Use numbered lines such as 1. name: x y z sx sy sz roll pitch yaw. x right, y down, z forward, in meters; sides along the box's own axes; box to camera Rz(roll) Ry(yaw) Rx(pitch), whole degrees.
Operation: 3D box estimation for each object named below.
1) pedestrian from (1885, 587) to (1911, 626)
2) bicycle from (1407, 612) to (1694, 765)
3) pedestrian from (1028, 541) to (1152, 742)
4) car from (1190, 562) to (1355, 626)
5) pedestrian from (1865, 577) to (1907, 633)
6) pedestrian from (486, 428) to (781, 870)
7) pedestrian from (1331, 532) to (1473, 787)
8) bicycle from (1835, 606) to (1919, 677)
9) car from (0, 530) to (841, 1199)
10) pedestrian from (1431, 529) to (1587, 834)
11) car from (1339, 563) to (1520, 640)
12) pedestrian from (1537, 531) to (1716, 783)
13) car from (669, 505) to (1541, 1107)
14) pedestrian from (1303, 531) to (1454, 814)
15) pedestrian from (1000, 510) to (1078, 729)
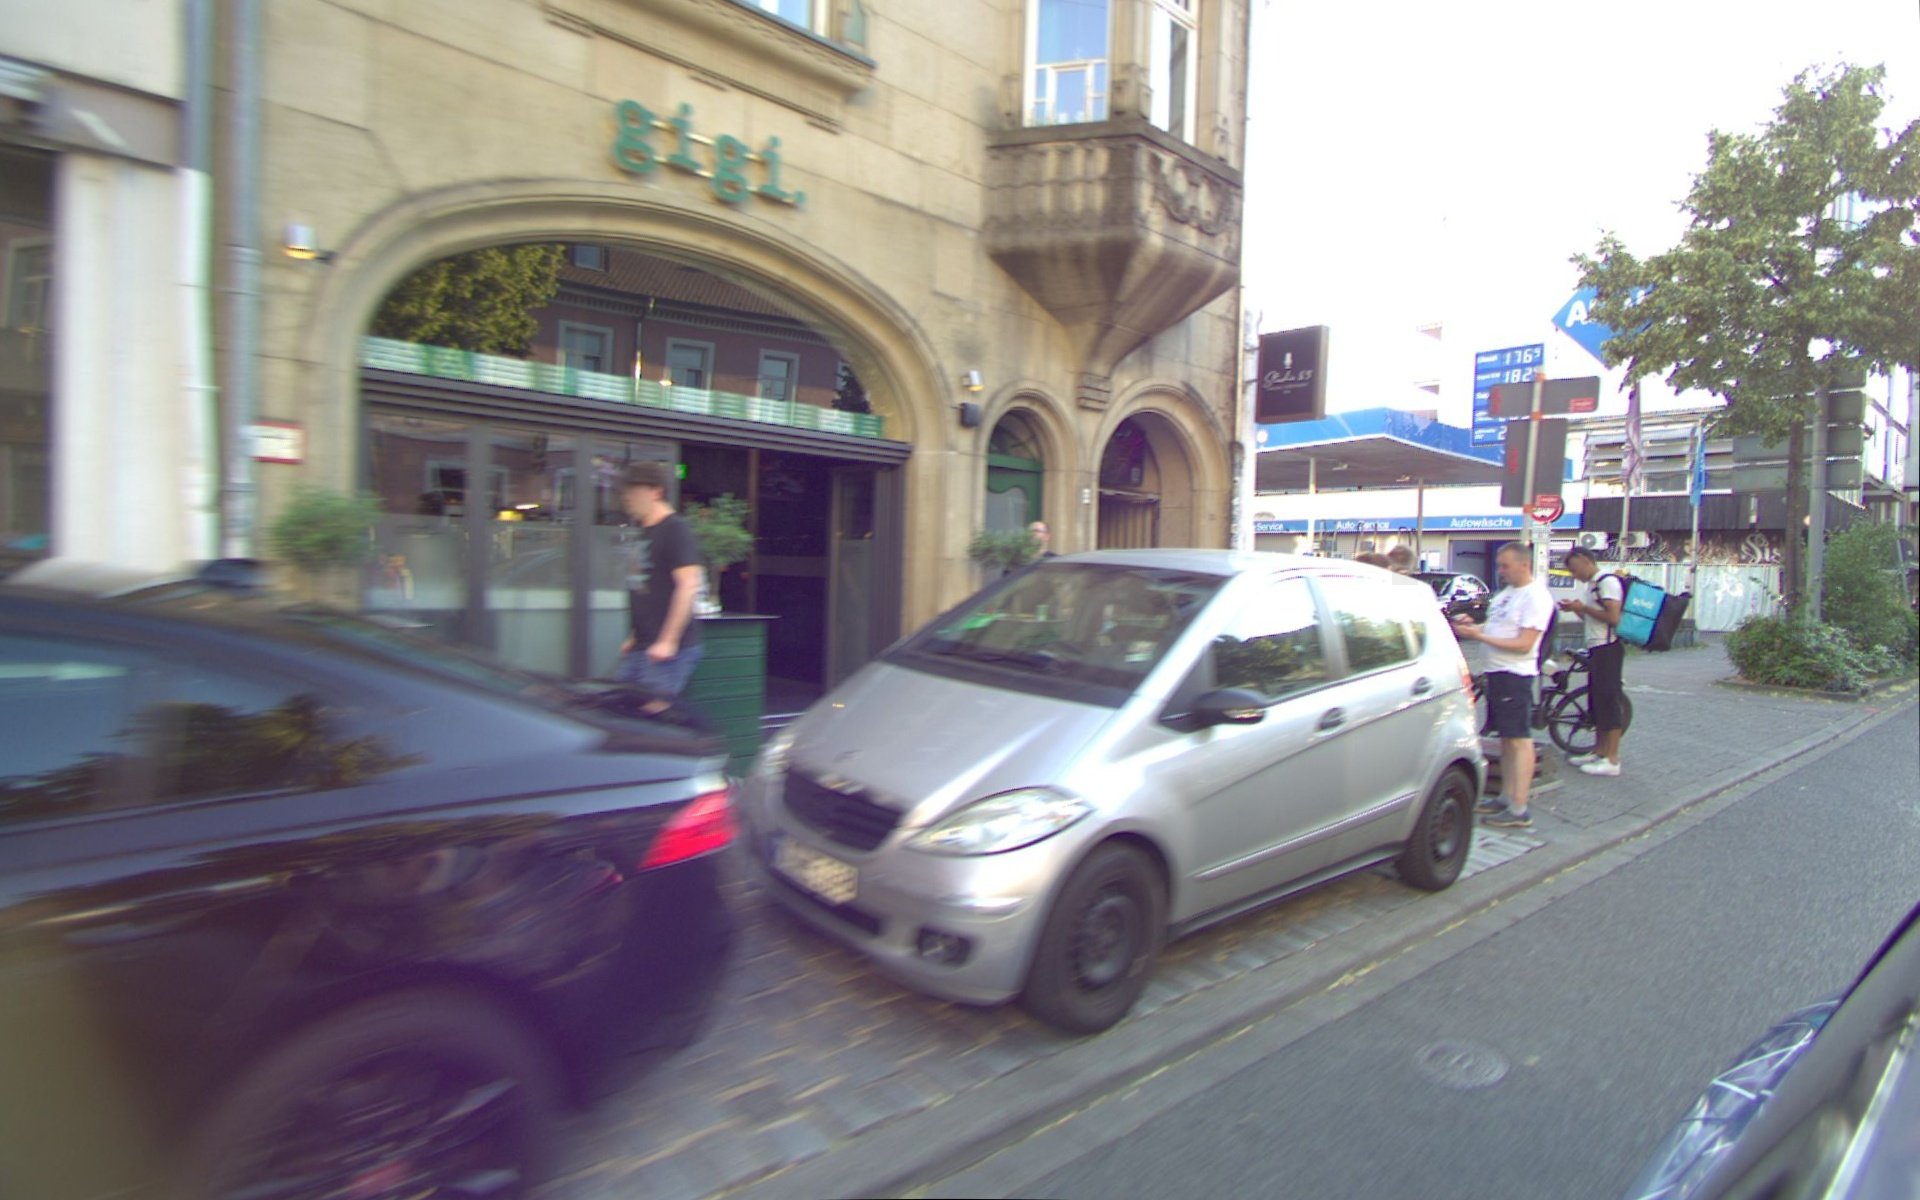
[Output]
1. pedestrian: 37.690 0.257 40.665 0.759 1.544 0.612 1 2 -40
2. bicycle: 5.036 0.732 8.730 1.889 1.112 0.868 3 2 -1
3. pedestrian: 1.086 0.318 8.485 0.689 1.581 0.660 1 4 -41
4. car: 7.864 -0.210 25.245 4.676 1.419 1.714 -1 4 -41
5. pedestrian: 31.095 0.152 33.982 0.979 1.816 0.857 0 2 -41
6. pedestrian: -1.593 0.184 4.948 1.078 1.876 0.824 0 4 -42
7. pedestrian: 3.152 0.391 7.286 0.642 1.720 0.667 3 3 5
8. bicycle: 16.324 0.727 17.732 1.646 1.156 0.485 2 3 -10
9. car: -2.552 0.579 1.555 4.445 1.392 1.789 0 4 -41
10. pedestrian: 3.492 0.458 6.427 0.676 1.775 0.814 3 2 39
11. car: 10.341 -0.039 22.114 4.823 1.448 1.738 -1 4 -41
12. pedestrian: 5.359 0.399 8.149 1.013 1.847 0.769 5 4 40
13. car: 0.922 0.497 4.607 3.942 1.594 1.691 0 4 -41
14. pedestrian: 2.805 0.430 6.768 0.675 1.726 0.815 5 3 35
15. pedestrian: 0.712 0.158 9.082 0.458 1.898 0.495 3 1 34
